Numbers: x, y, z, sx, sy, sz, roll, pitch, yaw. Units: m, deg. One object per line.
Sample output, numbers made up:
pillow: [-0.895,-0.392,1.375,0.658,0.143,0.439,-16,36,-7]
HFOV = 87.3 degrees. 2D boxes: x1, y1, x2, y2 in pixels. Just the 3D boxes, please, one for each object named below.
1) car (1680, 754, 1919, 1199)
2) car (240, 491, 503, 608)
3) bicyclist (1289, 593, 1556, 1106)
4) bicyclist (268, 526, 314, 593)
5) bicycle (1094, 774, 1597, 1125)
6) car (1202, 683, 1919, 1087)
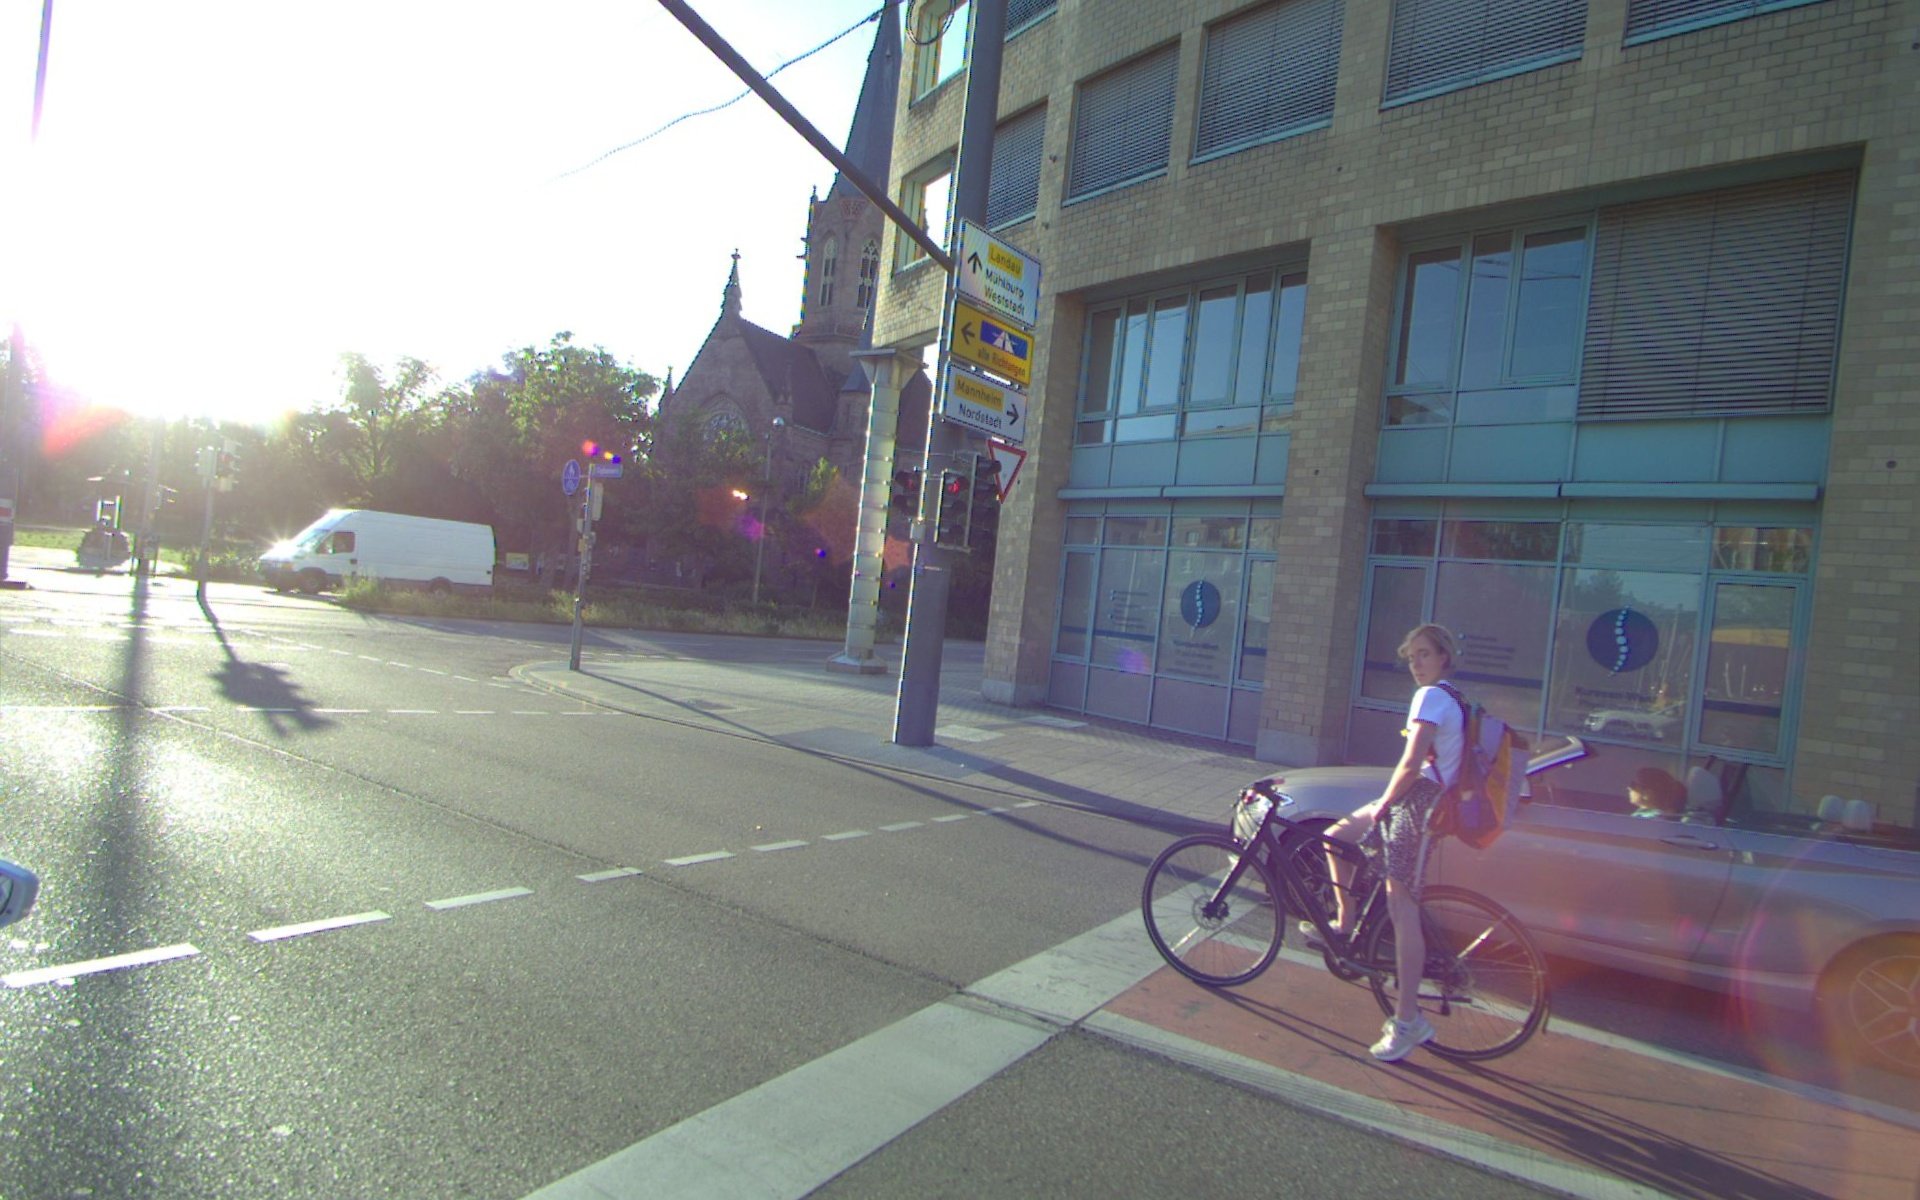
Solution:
car: [3.334,1.207,0.466,4.661,1.401,1.997,6,-1,32]
car: [-18.793,-1.494,32.648,2.059,2.862,7.017,6,-1,33]
bicyclist: [1.925,0.945,4.185,0.764,1.843,0.634,6,0,30]
bicyclist: [-21.513,-1.295,32.355,0.711,2.039,0.899,7,1,37]
bicycle: [1.597,1.380,4.341,1.838,0.884,0.634,6,0,30]
car: [3.819,1.497,6.044,4.158,1.401,1.746,6,-2,32]
